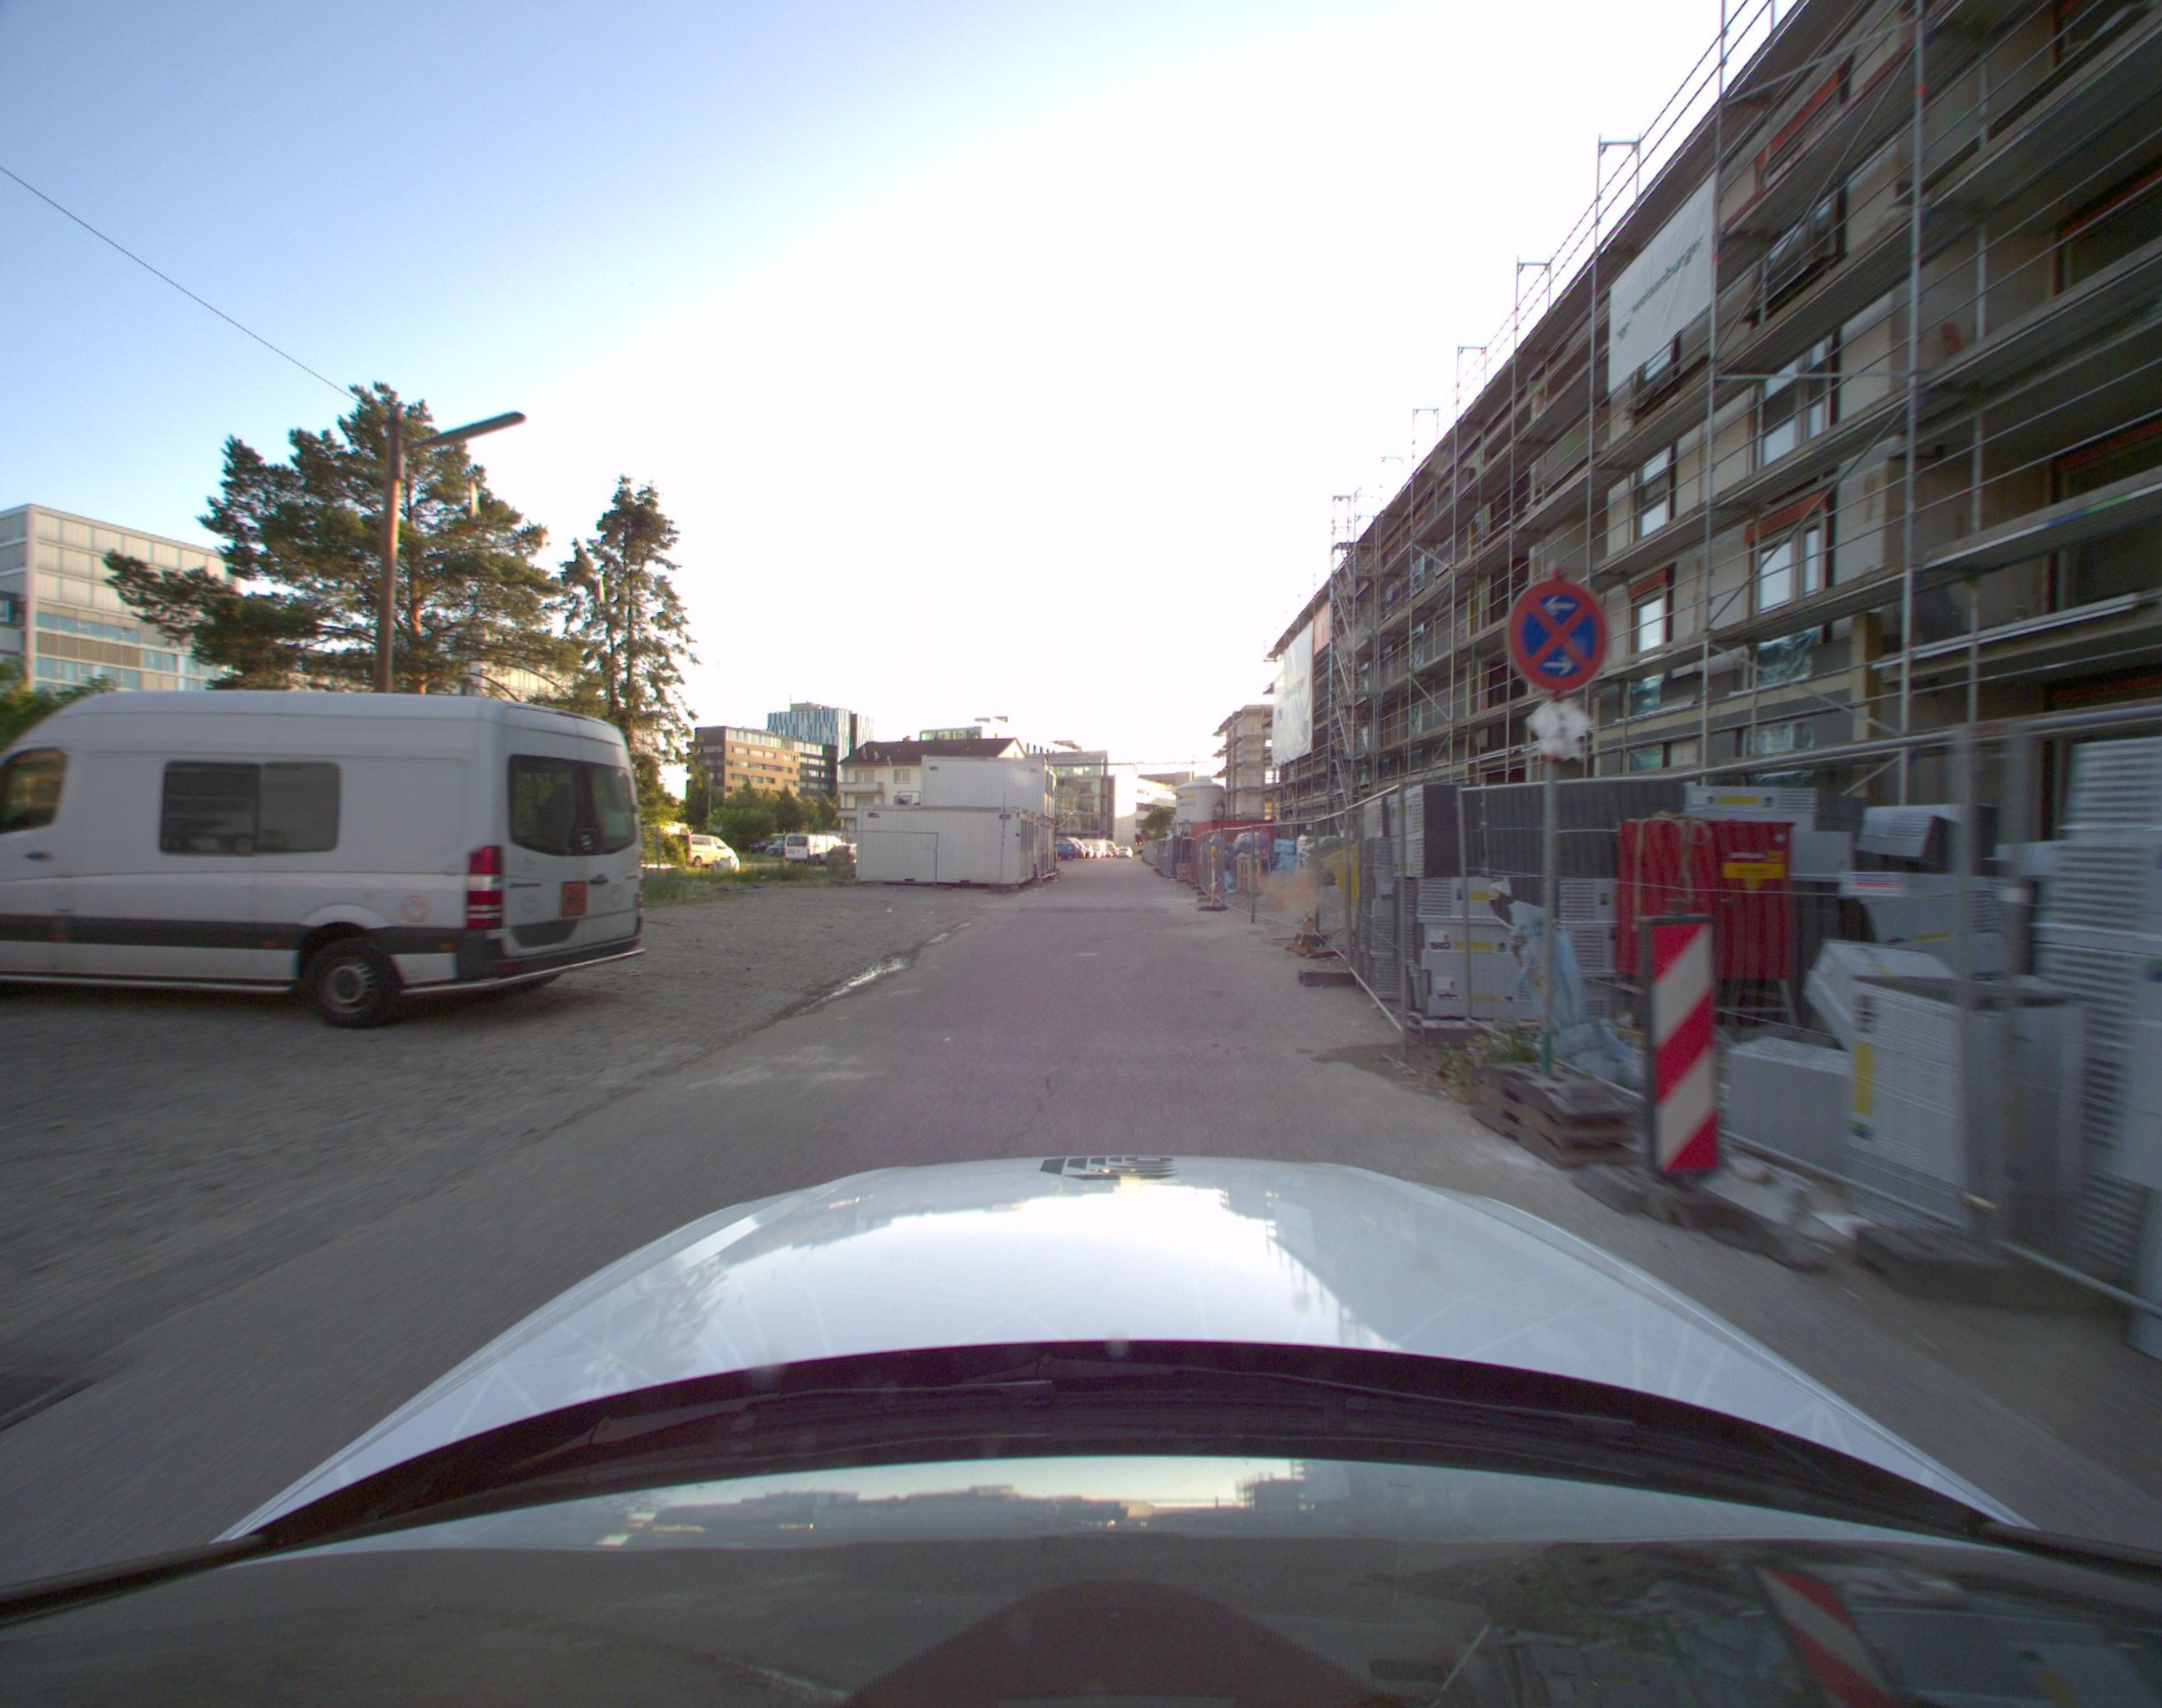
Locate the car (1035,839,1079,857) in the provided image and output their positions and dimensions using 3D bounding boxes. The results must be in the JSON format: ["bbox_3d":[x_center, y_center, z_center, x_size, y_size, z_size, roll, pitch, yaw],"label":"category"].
[{"bbox_3d":[-2.524,-0.633,84.954,4.493,1.868,1.998,0,1,-3],"label":"car"}]

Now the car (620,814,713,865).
[{"bbox_3d":[-23.046,-0.782,45.554,1.981,2.692,4.874,1,0,11],"label":"car"}]

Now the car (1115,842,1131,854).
[{"bbox_3d":[5.912,-0.858,114.363,1.654,1.529,3.922,0,1,11],"label":"car"}]

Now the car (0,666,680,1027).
[{"bbox_3d":[-7.034,-0.114,7.356,5.663,2.626,2.224,2,0,4],"label":"car"}]

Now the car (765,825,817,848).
[{"bbox_3d":[-27.382,-1.618,77.112,2.292,2.013,5.076,1,0,13],"label":"car"}]

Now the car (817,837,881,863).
[{"bbox_3d":[-15.293,-0.268,54.042,2.000,1.652,5.072,1,1,10],"label":"car"}]

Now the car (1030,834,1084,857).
[{"bbox_3d":[-2.892,-1.053,98.869,6.302,2.651,2.002,0,1,3],"label":"car"}]

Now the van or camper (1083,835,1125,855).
[{"bbox_3d":[3.712,-1.443,131.605,6.286,2.978,2.302,1,0,15],"label":"van or camper"}]

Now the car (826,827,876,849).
[{"bbox_3d":[-21.718,-1.465,77.137,2.292,2.013,5.076,1,0,13],"label":"car"}]

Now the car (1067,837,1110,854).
[{"bbox_3d":[1.147,-1.223,117.903,5.882,2.490,2.008,0,1,13],"label":"car"}]

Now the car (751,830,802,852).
[{"bbox_3d":[-30.036,-1.258,80.483,2.292,2.013,5.076,1,1,13],"label":"car"}]

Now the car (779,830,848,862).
[{"bbox_3d":[-17.920,-0.512,54.863,2.294,2.013,5.072,1,1,10],"label":"car"}]

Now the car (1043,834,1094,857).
[{"bbox_3d":[-1.531,-1.080,102.438,6.302,2.741,2.002,0,1,3],"label":"car"}]

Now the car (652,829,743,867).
[{"bbox_3d":[-21.079,-0.349,45.047,1.981,1.974,4.874,1,1,11],"label":"car"}]
